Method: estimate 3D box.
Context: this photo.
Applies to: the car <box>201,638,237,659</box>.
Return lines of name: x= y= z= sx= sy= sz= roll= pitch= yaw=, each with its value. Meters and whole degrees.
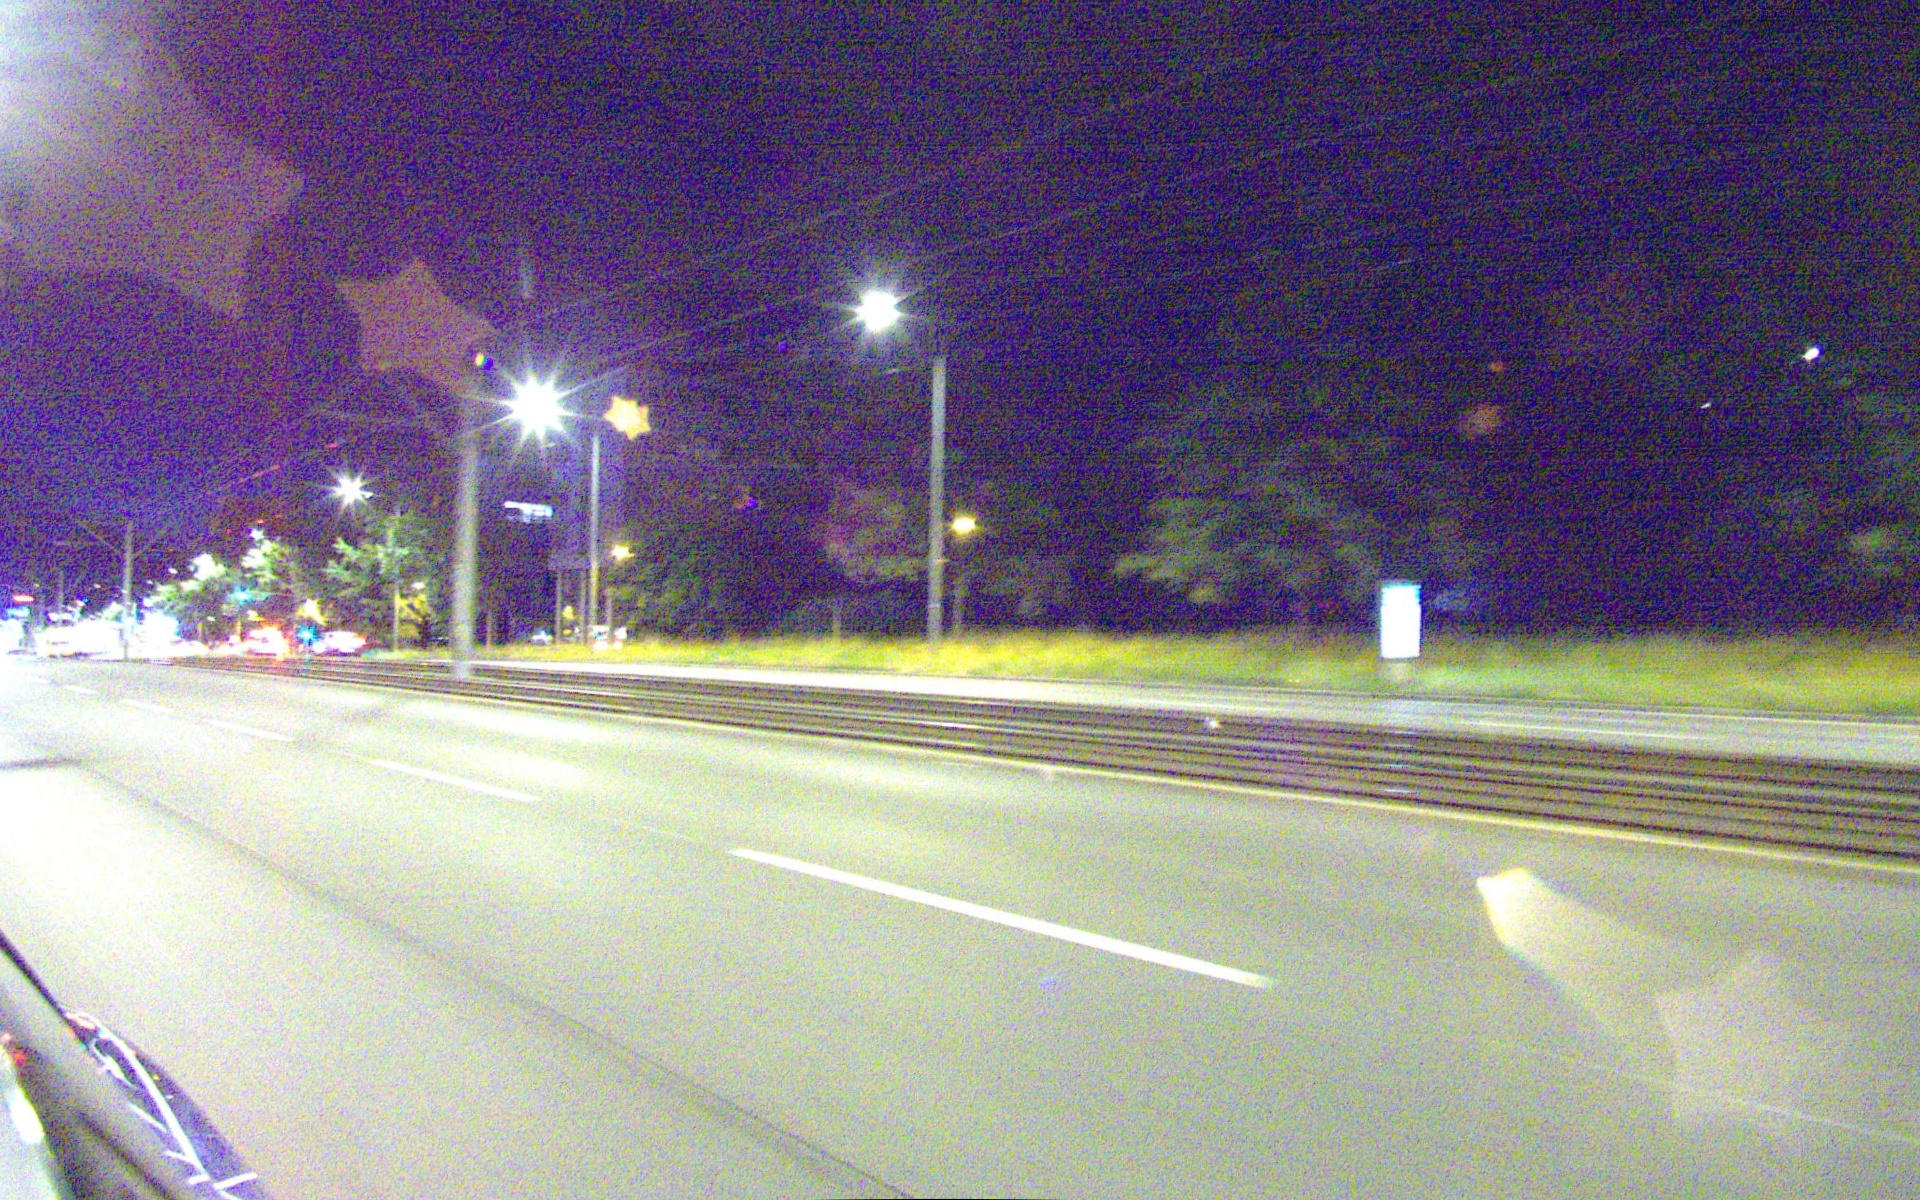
car: x=-61.922 y=4.022 z=84.562 sx=4.228 sy=1.726 sz=1.759 roll=-2 pitch=-2 yaw=44

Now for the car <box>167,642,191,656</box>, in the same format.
car: x=-85.014 y=5.332 z=110.160 sx=1.641 sy=1.528 sz=3.913 roll=1 pitch=-2 yaw=-44

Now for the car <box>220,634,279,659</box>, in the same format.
car: x=-43.576 y=2.847 z=62.033 sx=4.955 sy=1.439 sz=1.846 roll=-2 pitch=-2 yaw=42

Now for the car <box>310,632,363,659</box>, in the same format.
car: x=-37.453 y=2.743 z=60.718 sx=1.840 sy=1.526 sz=4.618 roll=3 pitch=-4 yaw=-42

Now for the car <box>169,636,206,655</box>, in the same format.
car: x=-62.179 y=3.643 z=81.448 sx=4.338 sy=1.451 sz=1.602 roll=-2 pitch=-4 yaw=43

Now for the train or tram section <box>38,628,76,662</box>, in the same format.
train or tram section: x=-112.099 y=5.612 z=125.492 sx=2.726 sy=3.856 sz=18.683 roll=1 pitch=-3 yaw=-44

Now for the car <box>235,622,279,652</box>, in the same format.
car: x=-64.812 y=3.432 z=93.255 sx=2.120 sy=2.691 sz=6.968 roll=5 pitch=-5 yaw=-43

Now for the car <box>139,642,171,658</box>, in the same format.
car: x=-78.206 y=4.839 z=98.308 sx=4.173 sy=1.508 sz=1.766 roll=-1 pitch=-2 yaw=41
